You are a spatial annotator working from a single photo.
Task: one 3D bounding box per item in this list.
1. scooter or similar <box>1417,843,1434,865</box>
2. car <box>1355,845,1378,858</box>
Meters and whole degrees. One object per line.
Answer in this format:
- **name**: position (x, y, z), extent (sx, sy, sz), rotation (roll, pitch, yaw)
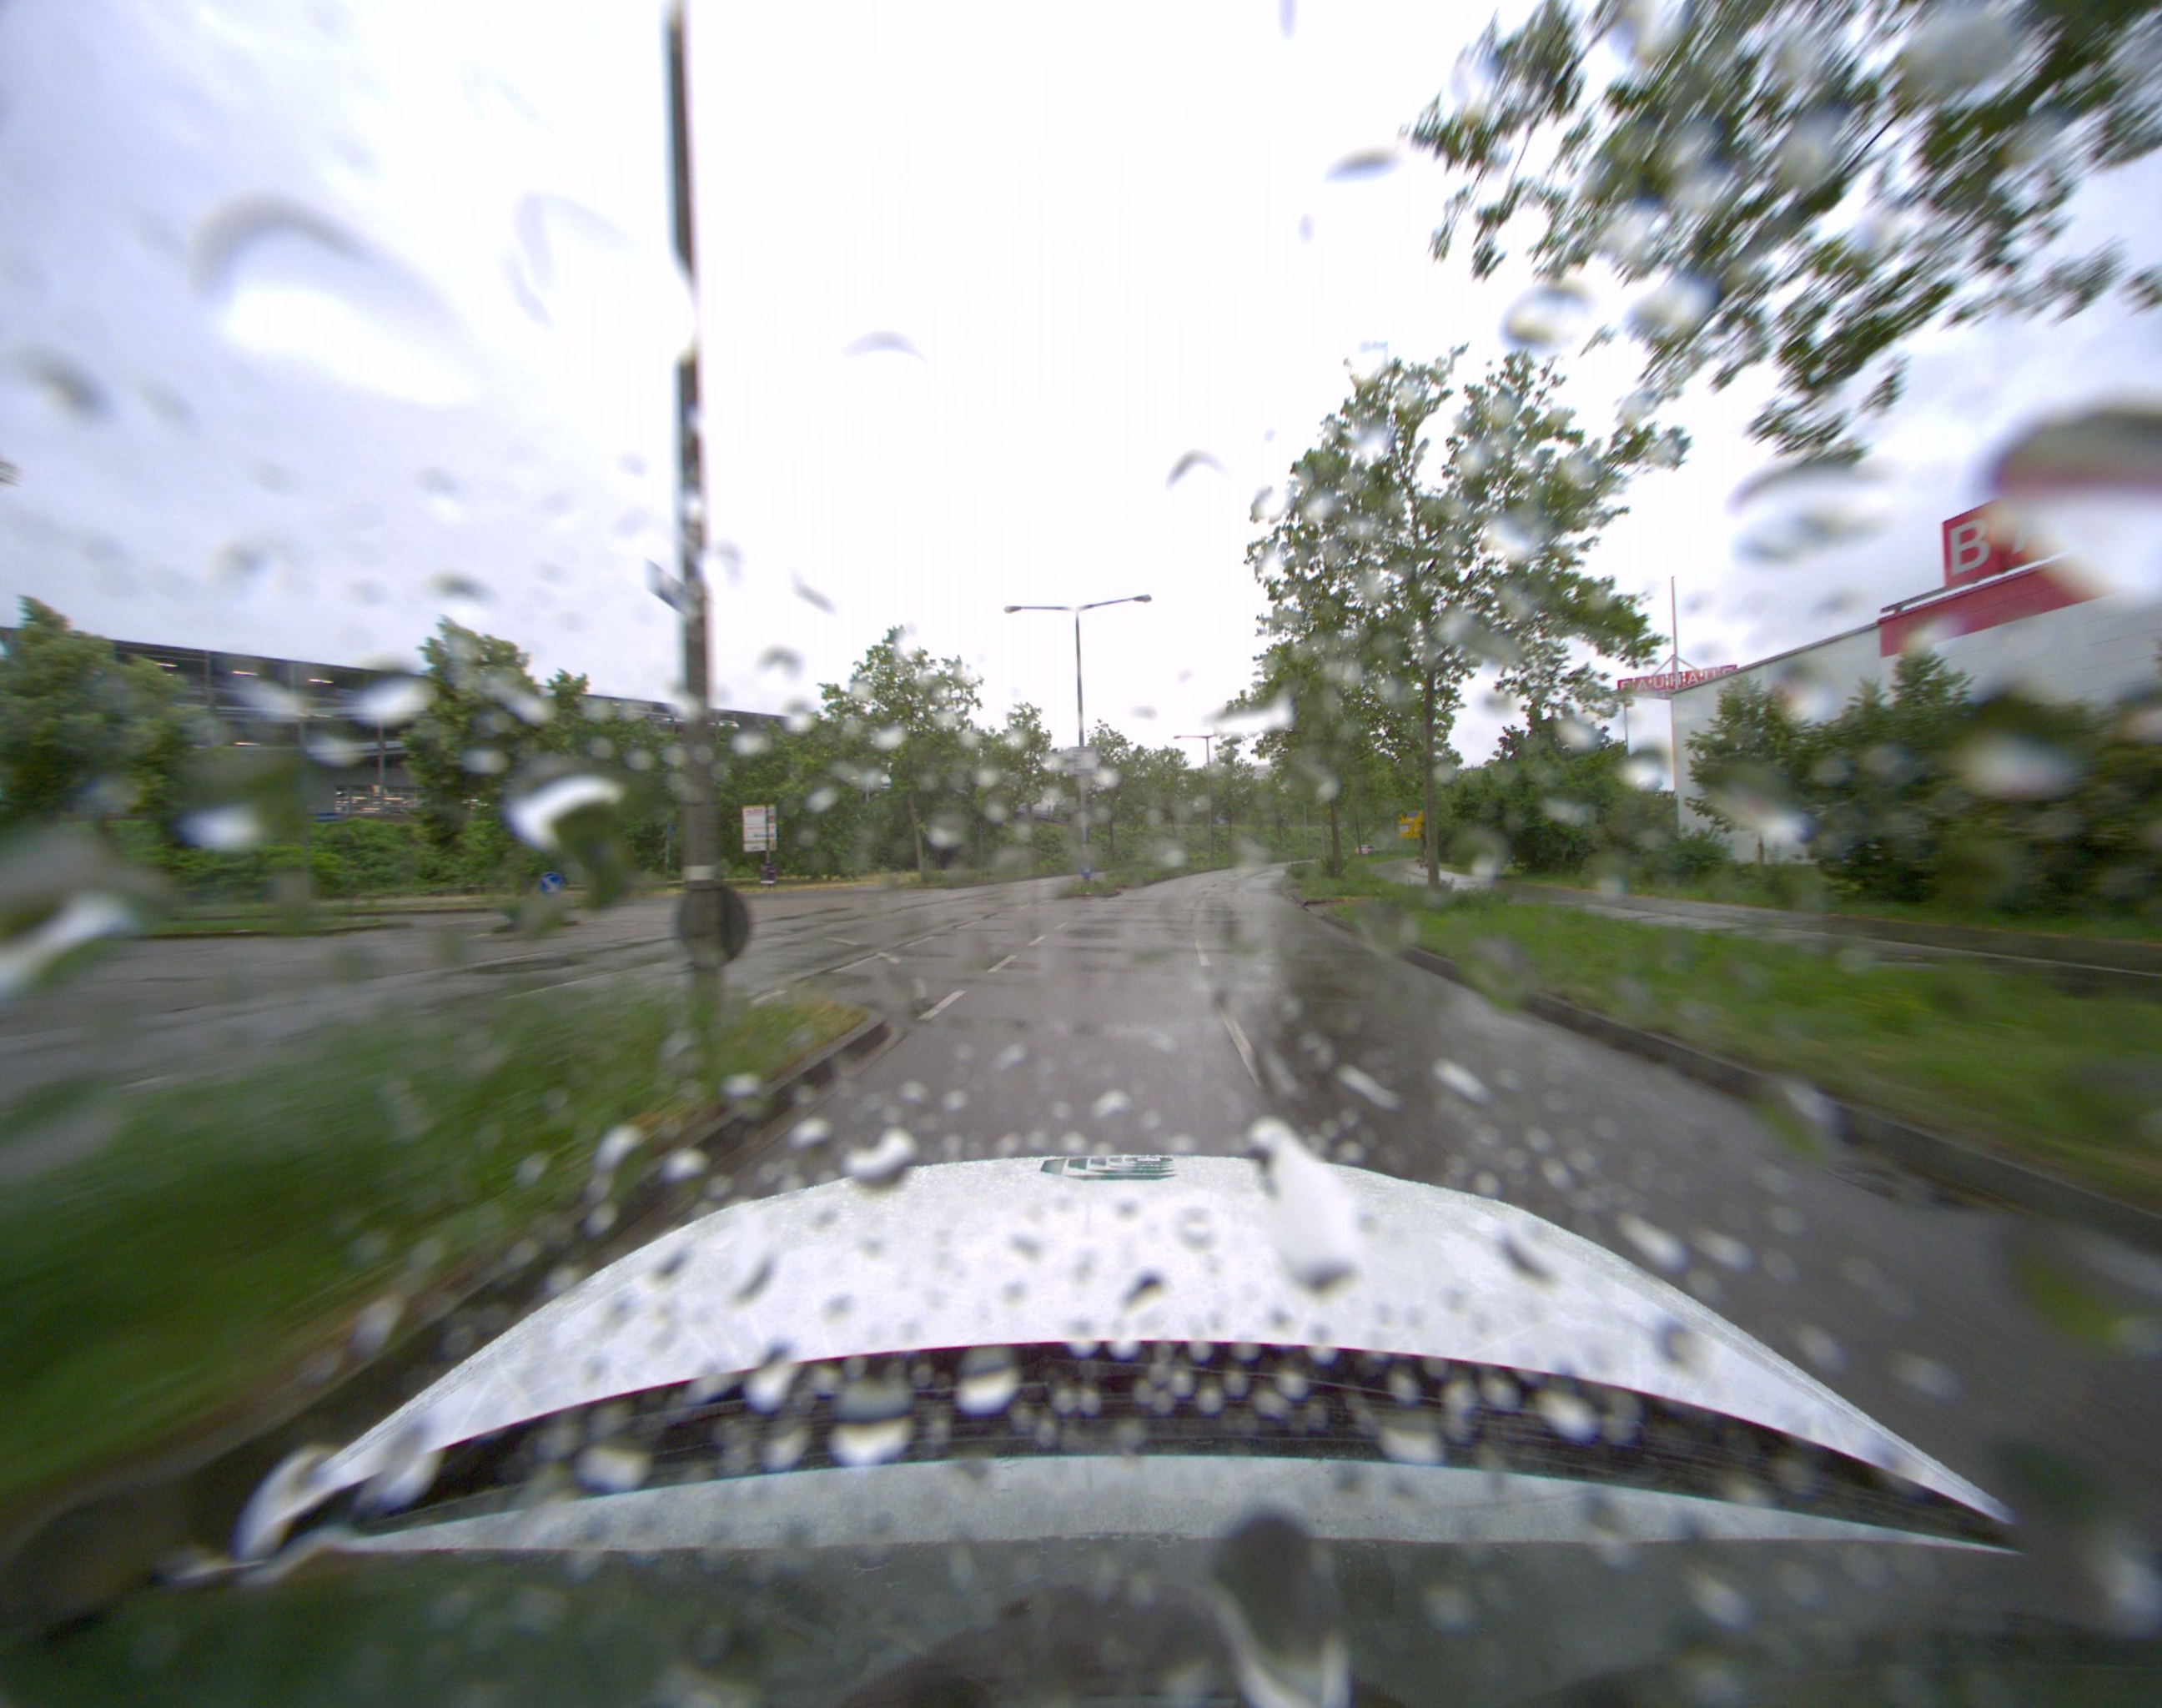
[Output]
- **scooter or similar**: position (19.897, 0.003, 47.068), extent (0.546, 1.198, 1.113), rotation (-2, 0, 4)
- **car**: position (35.431, -0.286, 101.059), extent (1.762, 1.555, 4.026), rotation (0, 1, 35)
